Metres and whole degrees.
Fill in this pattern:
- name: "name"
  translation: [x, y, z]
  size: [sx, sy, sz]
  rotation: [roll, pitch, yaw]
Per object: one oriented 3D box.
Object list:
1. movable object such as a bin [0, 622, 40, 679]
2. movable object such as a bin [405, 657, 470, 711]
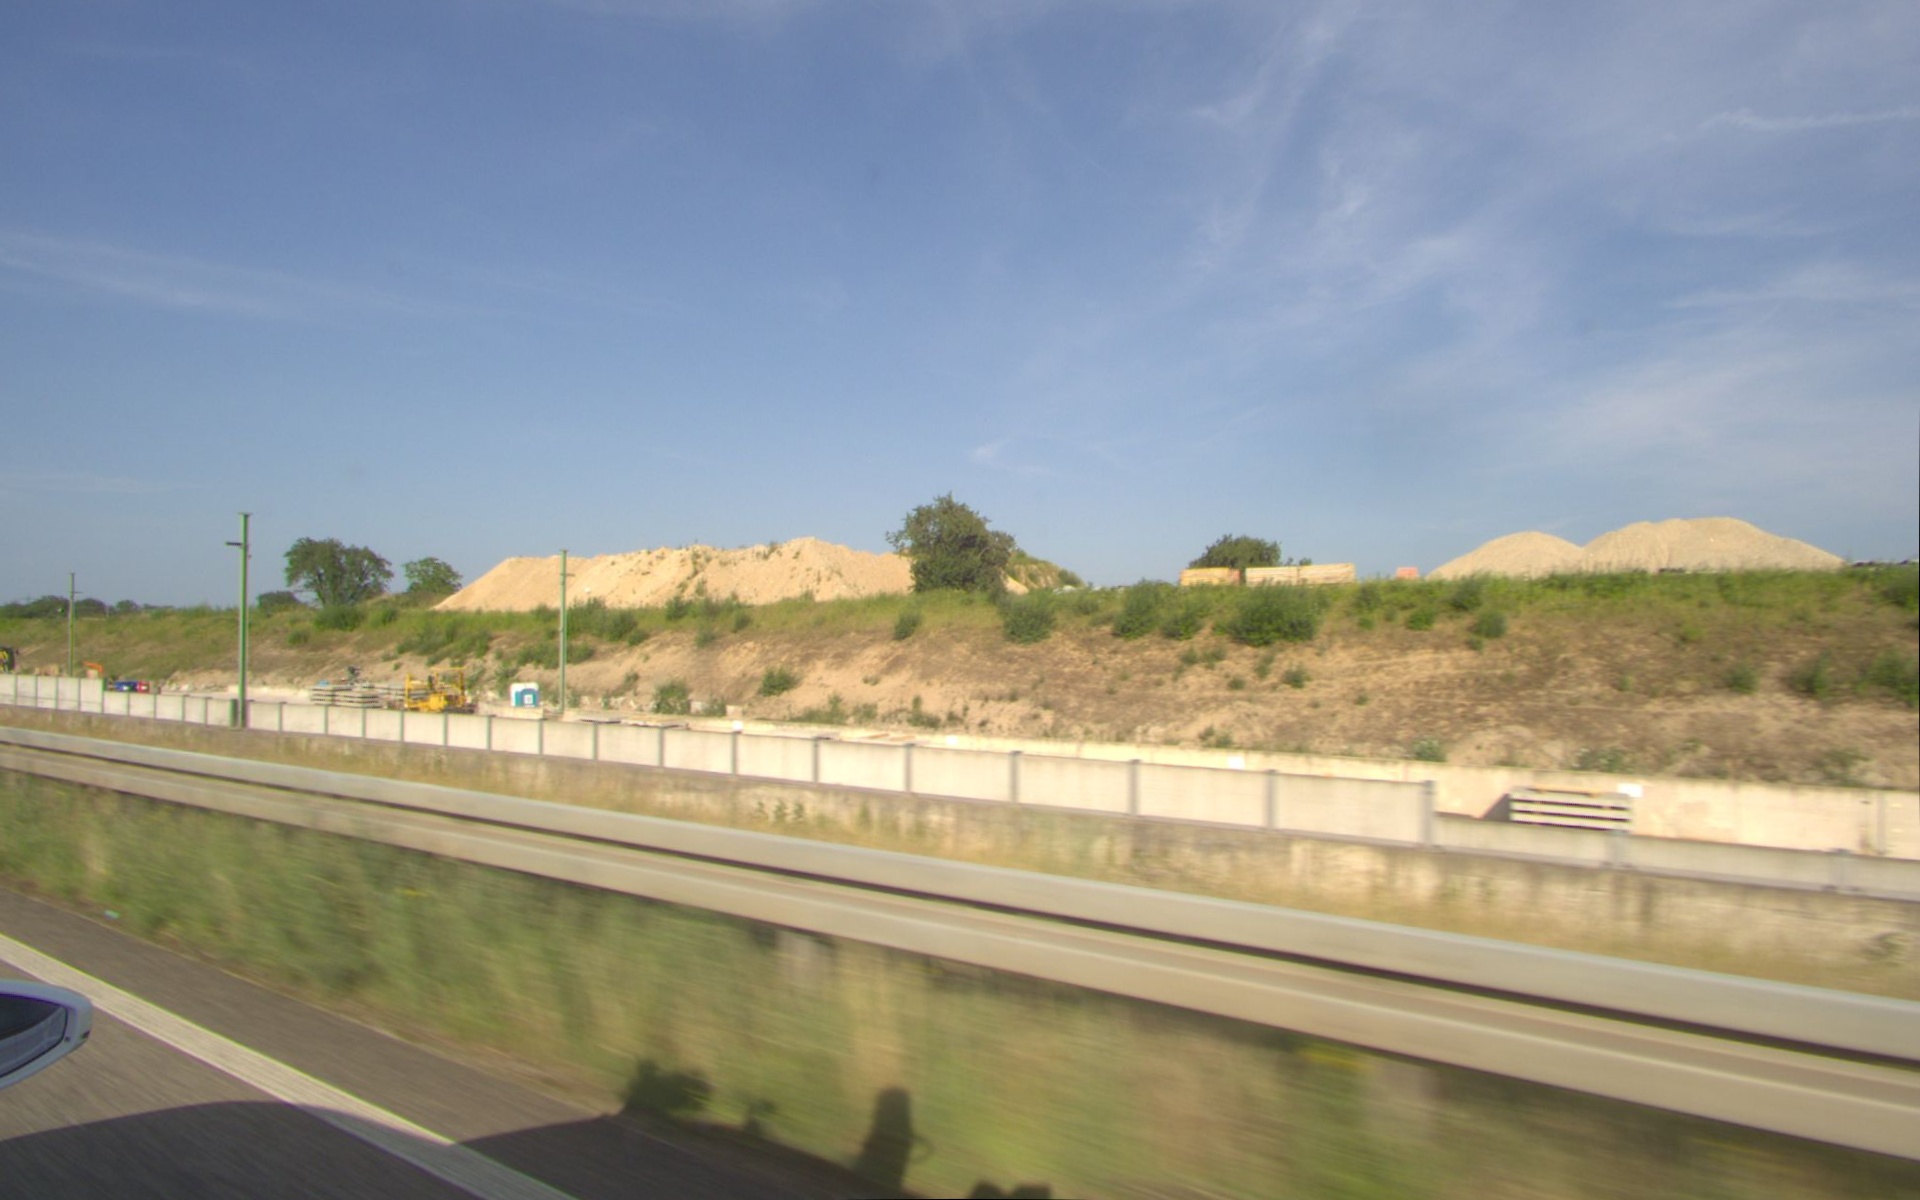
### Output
- name: "movable object such as a bin"
  translation: [-70.267, 3.611, 72.963]
  size: [7.427, 3.936, 2.793]
  rotation: [0, -1, 31]
- name: "movable object such as a bin"
  translation: [-27.515, 4.378, 52.722]
  size: [2.875, 2.696, 2.007]
  rotation: [1, -1, -33]
